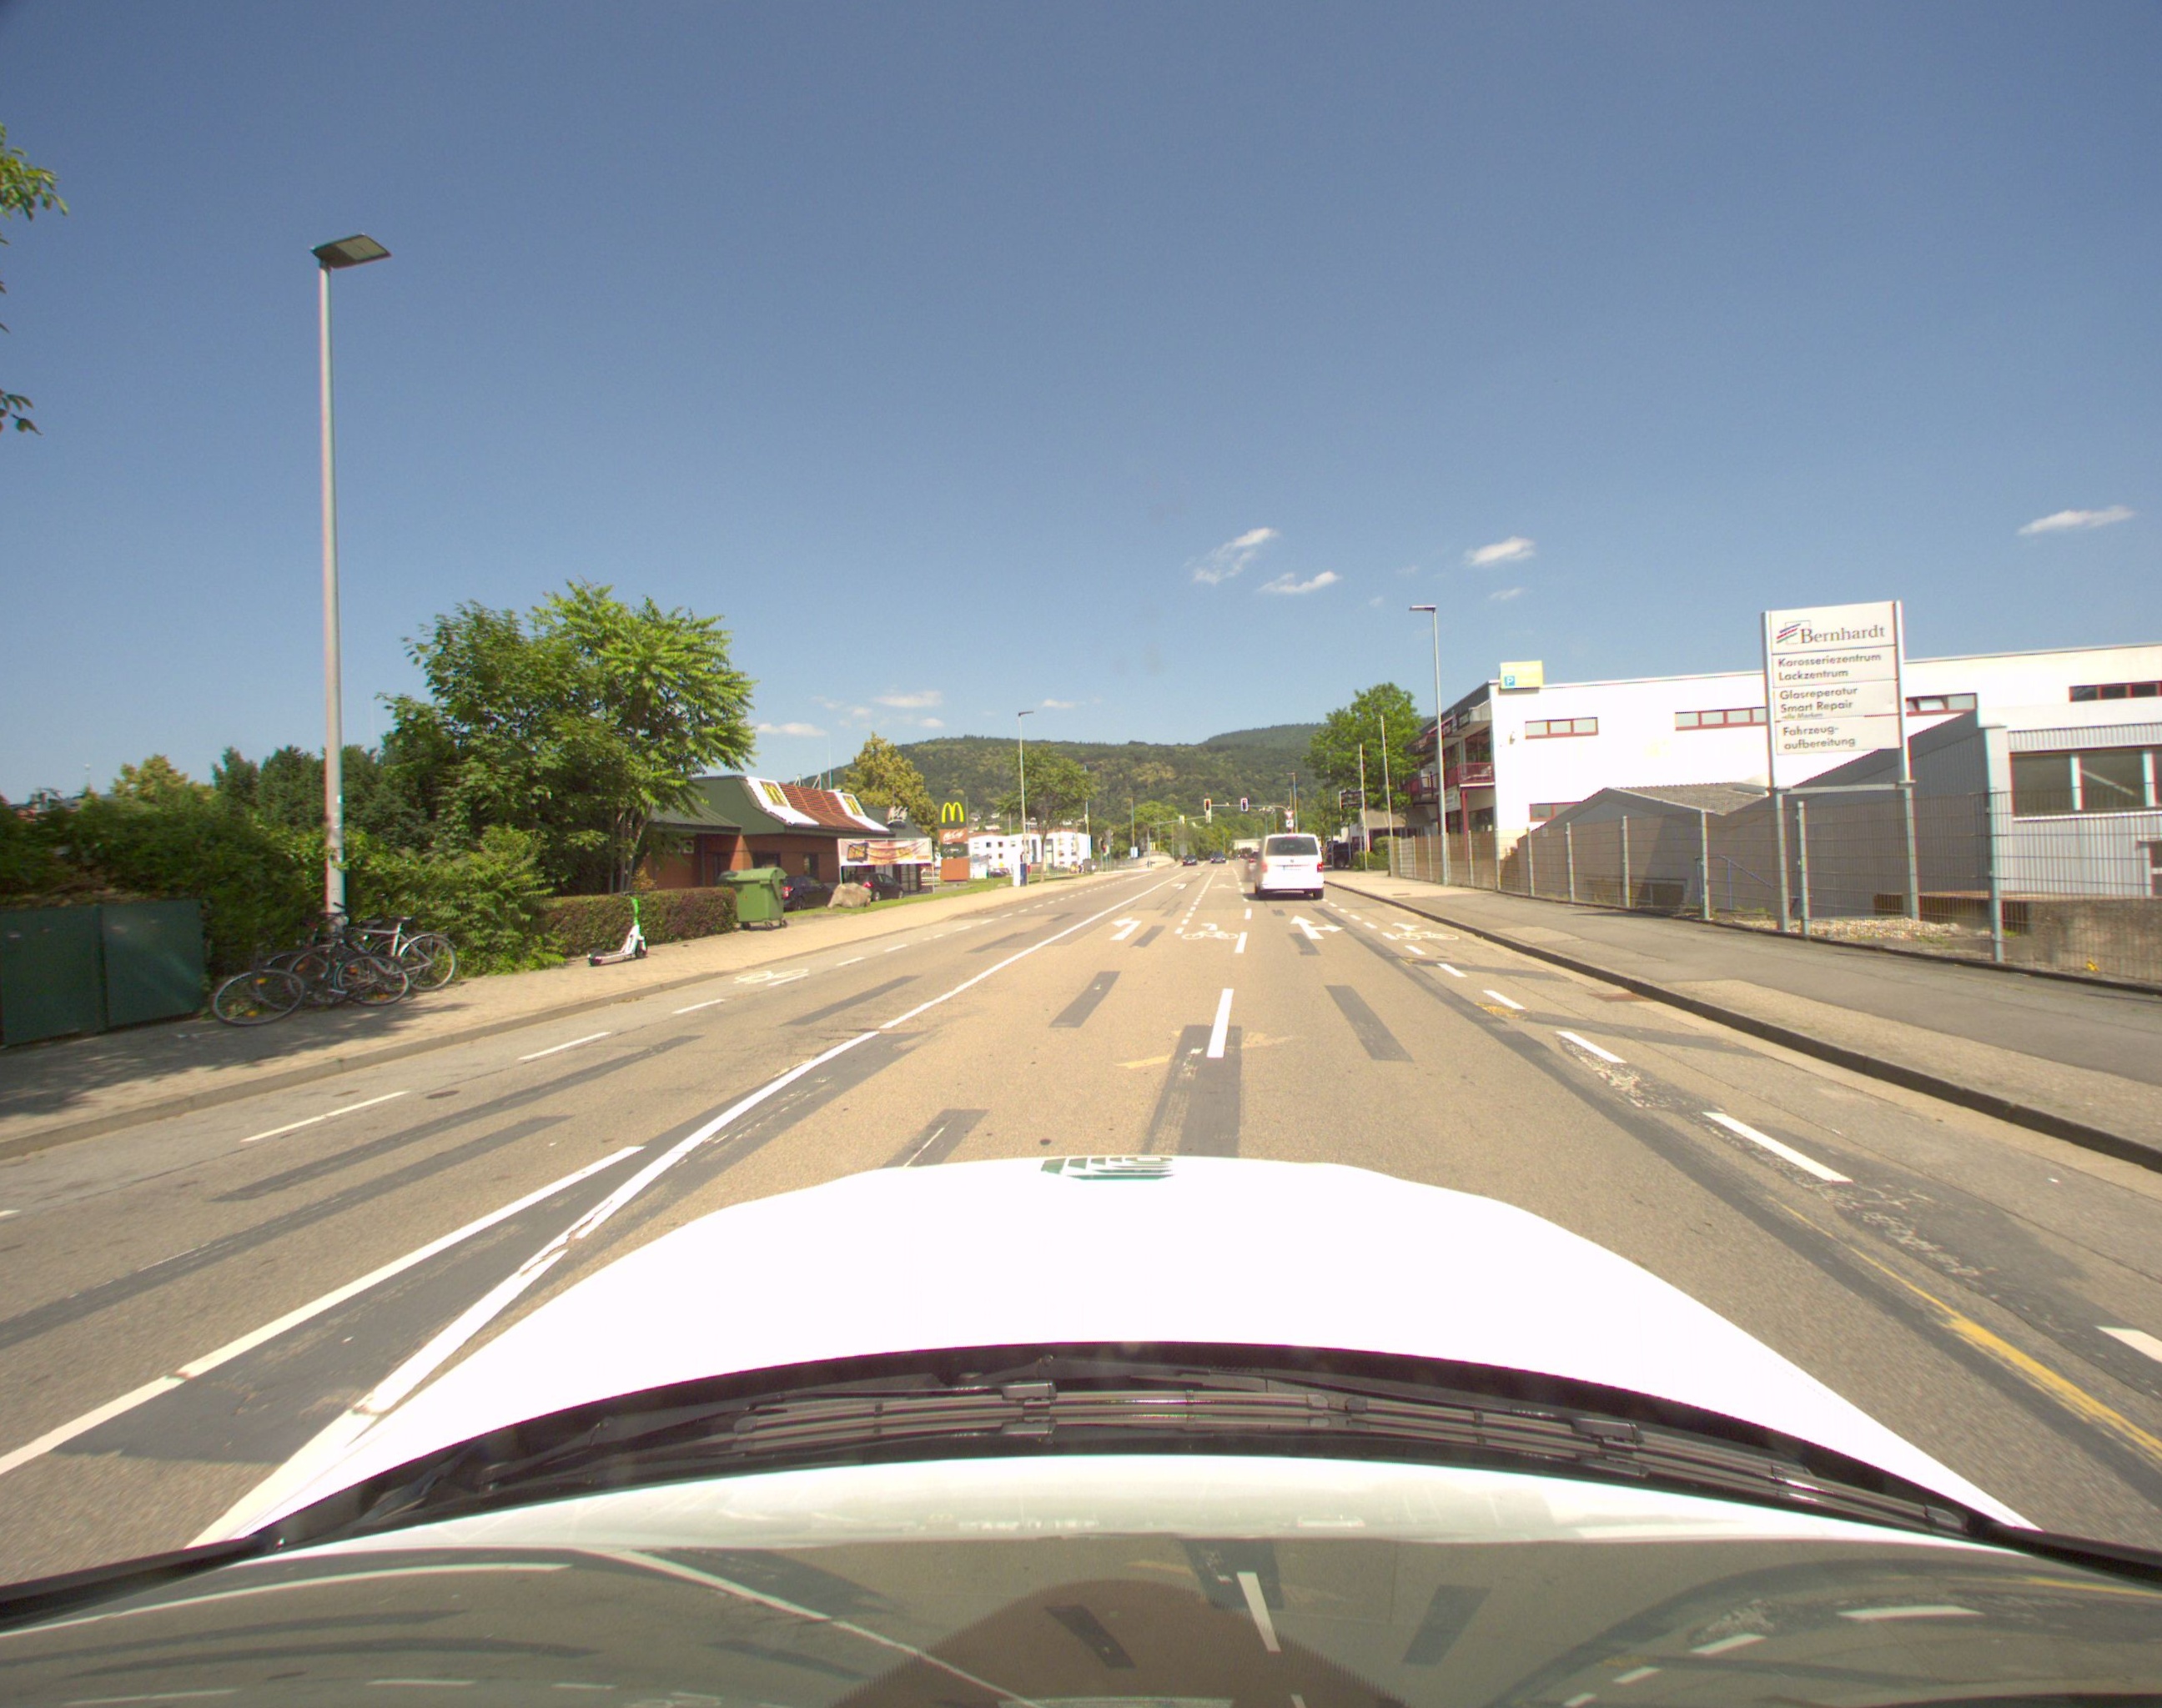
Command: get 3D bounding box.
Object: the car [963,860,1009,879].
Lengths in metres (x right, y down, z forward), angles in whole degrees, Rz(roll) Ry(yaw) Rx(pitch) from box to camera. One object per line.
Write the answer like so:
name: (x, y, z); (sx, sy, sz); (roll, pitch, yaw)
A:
car: (-9.288, 1.524, 79.735); (4.306, 1.592, 1.998); (-3, 0, -4)

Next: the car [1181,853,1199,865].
car: (13.935, 0.631, 103.707); (1.981, 1.370, 4.339); (-3, 0, 10)

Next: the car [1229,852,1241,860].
car: (31.374, 0.458, 165.882); (1.983, 1.530, 4.052); (0, 0, 7)

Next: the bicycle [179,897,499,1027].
bicycle: (-8.521, 1.166, 9.636); (1.021, 1.118, 2.772); (1, 1, 7)

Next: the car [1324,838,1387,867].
car: (19.025, -0.097, 56.599); (3.956, 1.775, 2.009); (-3, 0, 16)

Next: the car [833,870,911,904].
car: (-10.042, 1.545, 39.384); (1.980, 1.416, 4.143); (0, 0, 12)

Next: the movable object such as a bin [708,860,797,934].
movable object such as a bin: (-7.676, 0.982, 19.131); (1.443, 1.590, 1.308); (-3, 0, 1)

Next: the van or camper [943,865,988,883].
van or camper: (-10.503, 1.783, 74.393); (3.984, 1.574, 1.995); (0, 0, -8)

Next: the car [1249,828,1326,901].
car: (6.421, 0.285, 25.742); (1.923, 2.059, 4.556); (-1, 0, 9)

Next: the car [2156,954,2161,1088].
car: (16.403, 2.310, 9.672); (3.954, 1.830, 2.010); (0, 0, 19)

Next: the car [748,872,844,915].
car: (-11.350, 1.519, 32.745); (1.817, 1.476, 4.331); (0, 0, 8)

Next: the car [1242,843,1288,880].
car: (9.031, 0.351, 40.216); (1.923, 1.686, 4.556); (-1, 0, 9)

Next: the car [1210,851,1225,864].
car: (17.933, 0.443, 106.870); (1.838, 1.588, 4.012); (-3, 0, 11)

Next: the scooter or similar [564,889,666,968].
scooter or similar: (-7.586, 1.182, 13.349); (0.644, 1.127, 1.625); (1, 0, 4)
